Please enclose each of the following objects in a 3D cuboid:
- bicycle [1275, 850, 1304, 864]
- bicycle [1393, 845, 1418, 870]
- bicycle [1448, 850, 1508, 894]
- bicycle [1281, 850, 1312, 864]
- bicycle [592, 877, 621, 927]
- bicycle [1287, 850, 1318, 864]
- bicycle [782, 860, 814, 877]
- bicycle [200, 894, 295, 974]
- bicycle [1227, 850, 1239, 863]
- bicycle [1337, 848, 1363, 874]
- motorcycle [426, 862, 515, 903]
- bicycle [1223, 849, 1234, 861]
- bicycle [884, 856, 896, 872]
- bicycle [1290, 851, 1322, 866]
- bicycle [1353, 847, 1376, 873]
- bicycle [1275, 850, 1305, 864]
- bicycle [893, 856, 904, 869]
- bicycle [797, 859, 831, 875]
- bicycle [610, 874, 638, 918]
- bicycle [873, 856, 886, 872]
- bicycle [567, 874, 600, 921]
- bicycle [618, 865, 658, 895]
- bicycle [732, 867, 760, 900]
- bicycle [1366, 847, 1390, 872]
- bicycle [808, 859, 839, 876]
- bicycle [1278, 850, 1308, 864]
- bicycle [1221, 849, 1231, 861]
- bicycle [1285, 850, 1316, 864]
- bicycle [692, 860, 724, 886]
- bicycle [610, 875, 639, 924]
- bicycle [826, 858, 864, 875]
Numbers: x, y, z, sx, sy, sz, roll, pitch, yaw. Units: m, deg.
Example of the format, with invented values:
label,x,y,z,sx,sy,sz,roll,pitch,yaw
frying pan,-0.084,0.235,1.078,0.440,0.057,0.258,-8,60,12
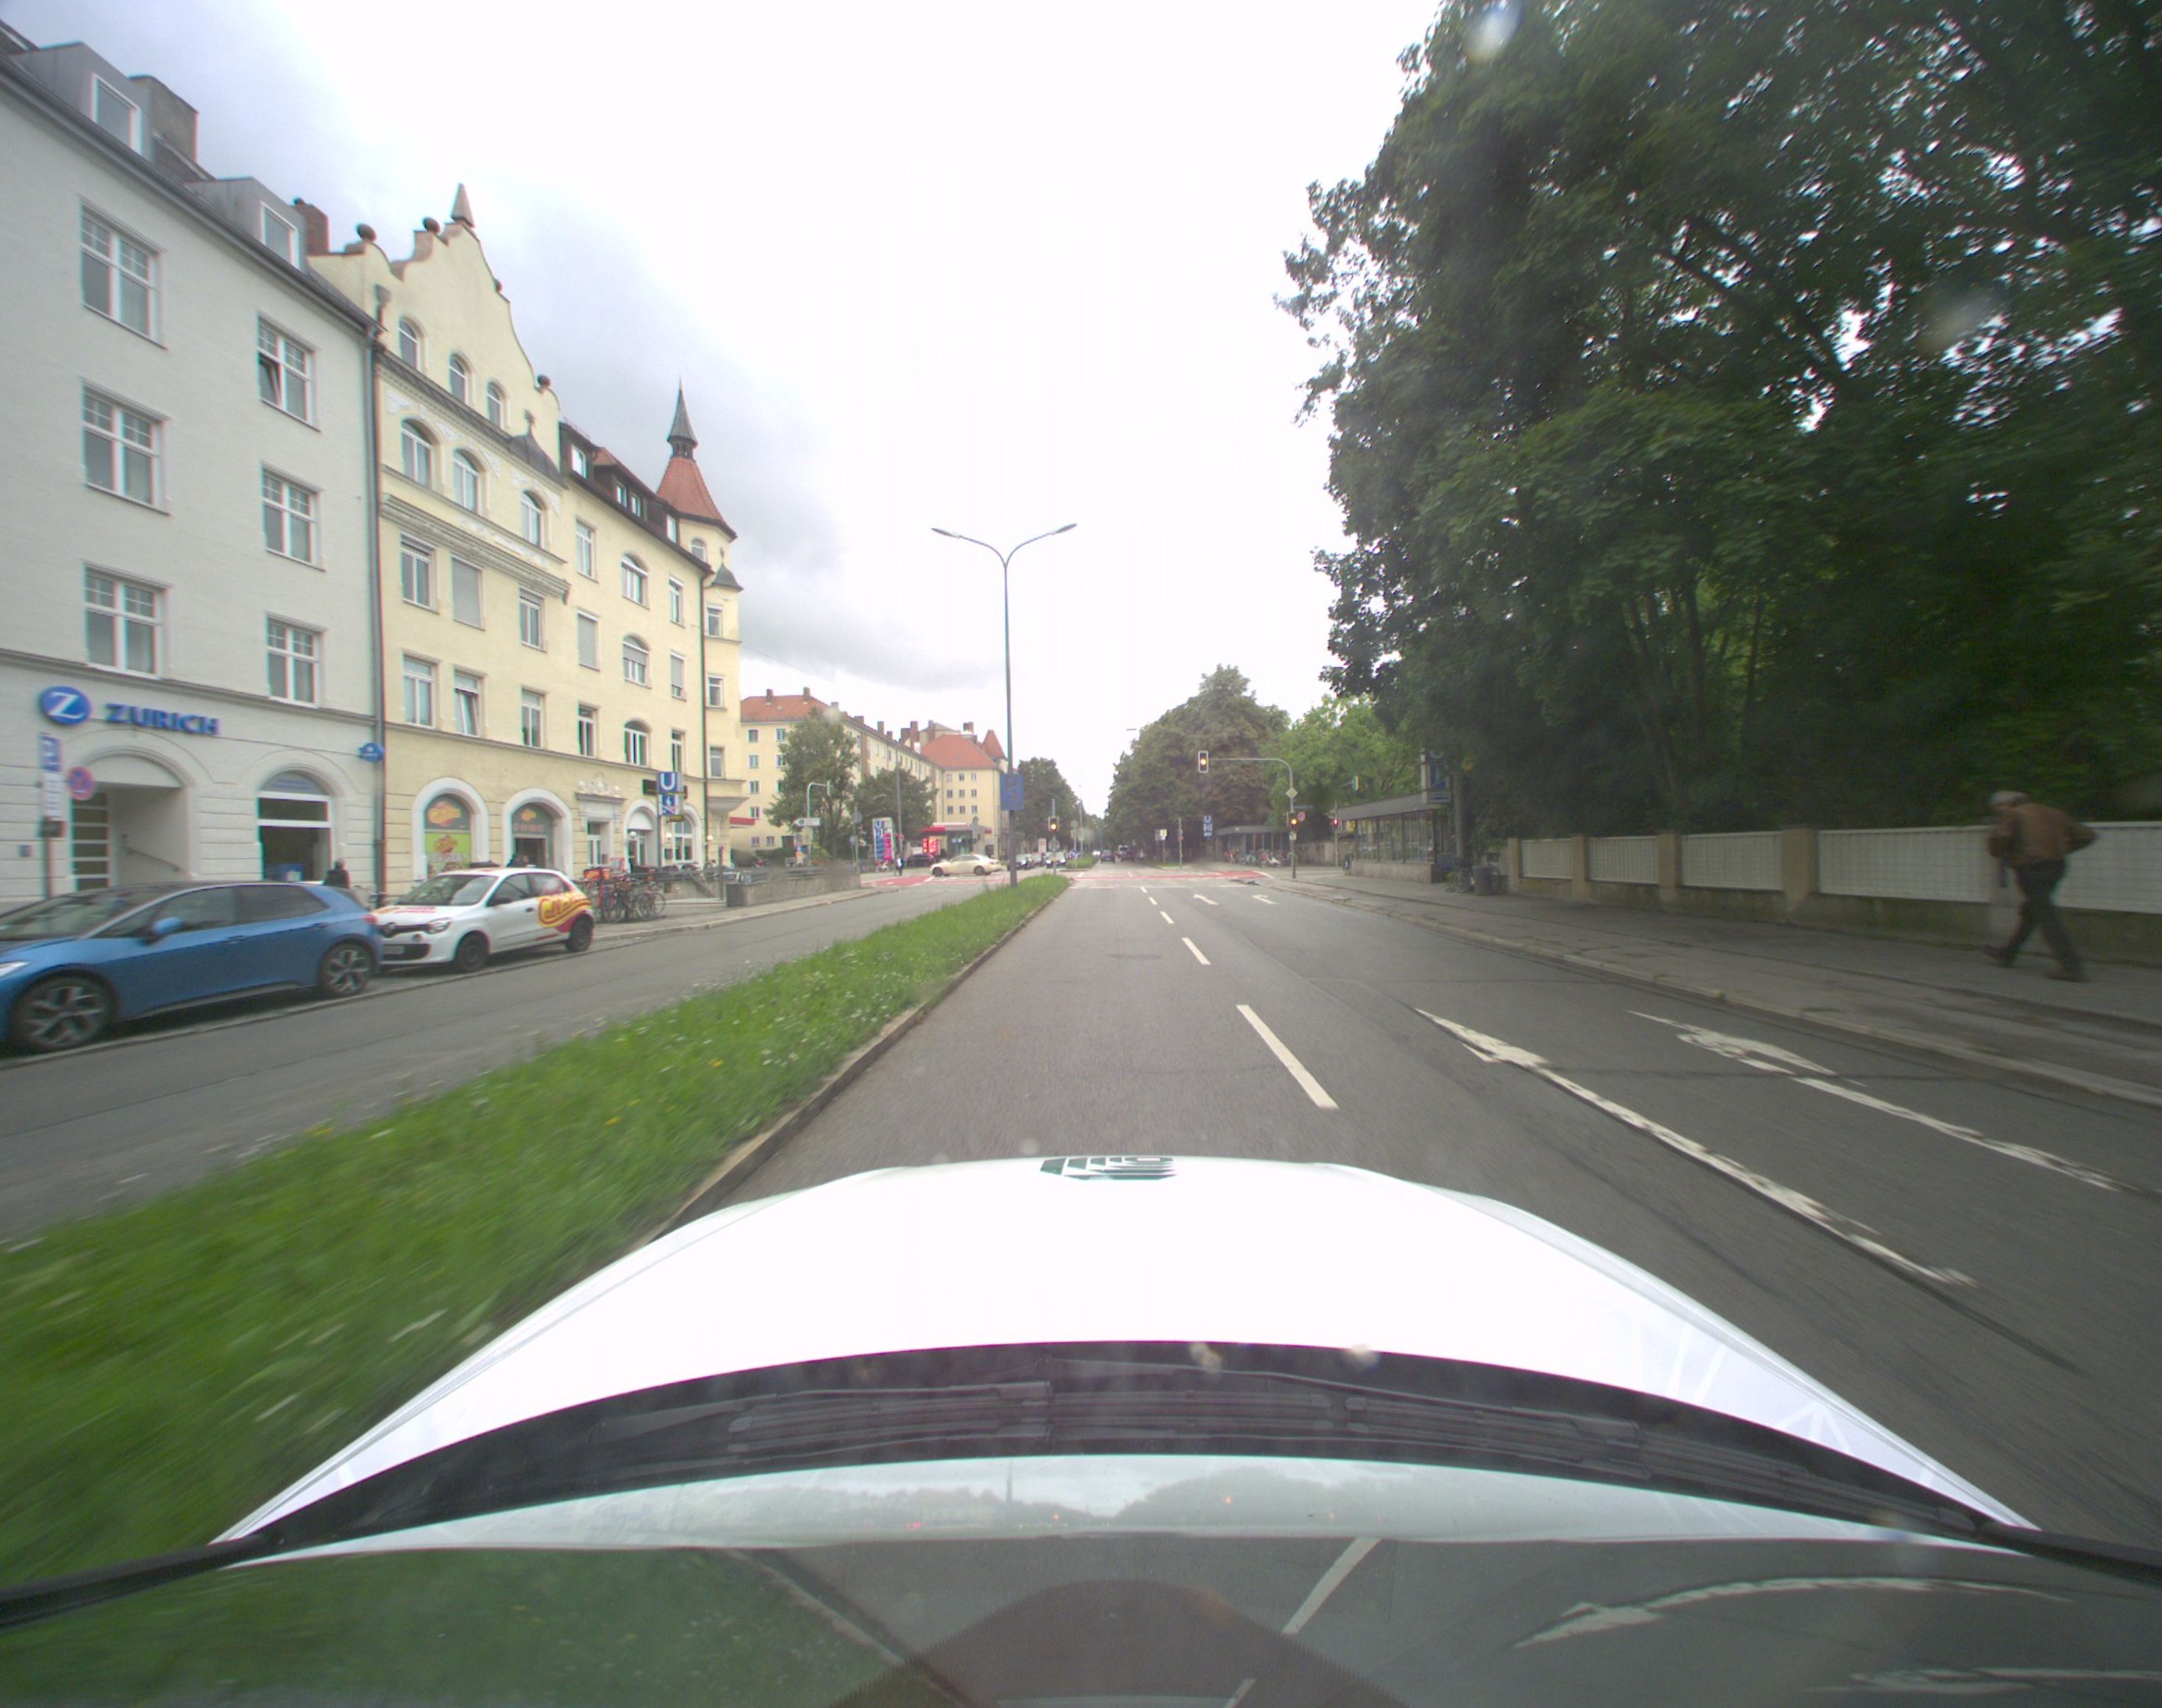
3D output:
label,x,y,z,sx,sy,sz,roll,pitch,yaw
bicycle,16.168,0.224,63.139,2.130,1.014,0.636,-1,0,10
bicycle,14.582,0.156,36.621,0.467,1.121,1.736,-1,-1,2
bicycle,10.476,0.447,21.554,0.620,1.090,2.027,-2,0,2
bicycle,16.076,0.219,60.773,2.130,1.014,0.636,-1,0,10
bicycle,-11.713,1.164,20.115,0.330,1.115,1.669,-1,0,-21
bicycle,16.094,0.218,59.210,2.130,1.014,0.636,-1,0,10
bicycle,-21.602,1.088,62.244,2.178,1.236,0.764,-2,0,-8
bicycle,-13.486,1.250,13.227,0.551,1.115,1.863,-2,0,-30
bicycle,12.461,0.187,66.681,0.555,1.014,2.015,-1,0,0
bicycle,12.114,0.300,36.668,0.597,1.121,1.891,-1,-1,2
motorcycle,-17.695,0.802,23.648,0.602,1.130,1.999,-1,0,42
bicycle,12.547,0.081,69.411,0.555,1.014,2.015,-1,0,0
bicycle,-15.908,0.807,67.837,0.607,1.236,2.184,-2,0,-4
bicycle,16.118,0.318,58.411,2.130,1.014,0.636,-1,0,10
bicycle,12.768,0.279,36.668,0.467,1.121,1.736,-1,-1,2
bicycle,15.978,0.221,62.355,2.130,1.014,0.636,-1,0,10
bicycle,-16.099,0.745,71.992,0.607,1.145,1.963,-2,0,-4
bicycle,-20.650,1.006,62.944,2.393,1.251,0.789,0,0,-9
bicycle,-12.400,1.118,22.126,0.397,1.115,1.801,-1,0,-21
bicycle,-16.595,0.826,67.028,0.607,1.236,2.184,-2,0,-4
bicycle,-12.929,1.111,21.211,0.397,1.115,1.801,-1,0,-21
bicycle,-15.262,0.884,28.104,0.471,0.980,1.546,-1,0,2
bicycle,-11.933,1.033,29.026,0.395,1.115,1.810,-1,0,-6
bicycle,13.345,0.251,36.657,0.467,1.121,1.736,-1,-1,2
bicycle,-19.668,1.025,62.279,2.180,1.236,0.763,-2,0,-10
bicycle,16.052,0.219,61.560,2.130,1.014,0.636,-1,0,10
bicycle,12.915,0.079,72.714,0.555,1.014,2.015,-1,0,0
bicycle,16.128,0.220,59.977,2.130,1.014,0.636,-1,0,10
bicycle,-14.714,0.727,32.124,0.471,0.980,1.546,-1,0,2
bicycle,-11.374,1.116,20.331,0.368,1.115,1.669,-1,0,-21
bicycle,-18.352,0.951,63.324,2.720,1.251,0.786,0,0,-29
